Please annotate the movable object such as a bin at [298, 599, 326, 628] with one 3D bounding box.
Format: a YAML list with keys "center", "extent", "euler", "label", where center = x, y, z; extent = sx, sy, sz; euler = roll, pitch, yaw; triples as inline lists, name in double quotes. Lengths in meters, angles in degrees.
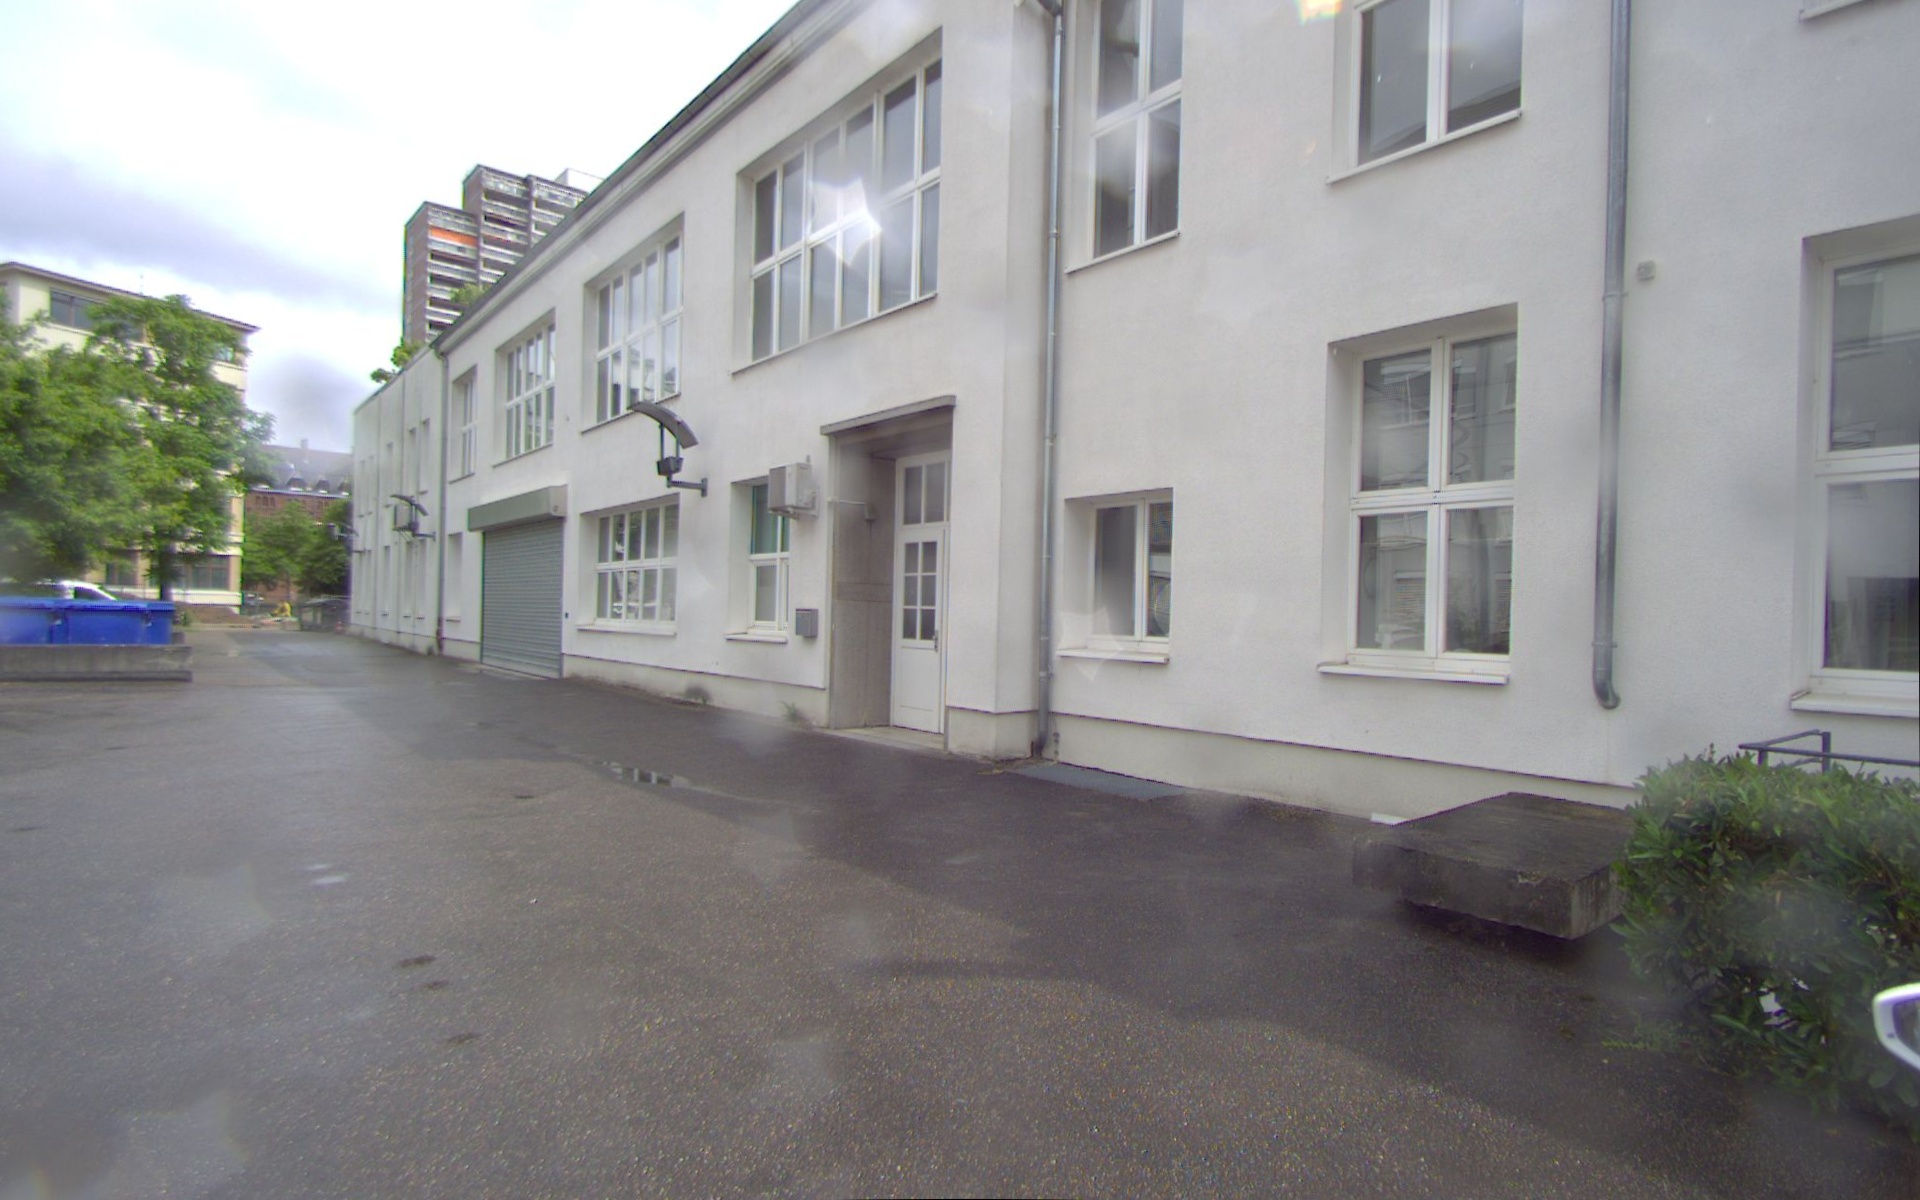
- center: [-30.927, 0.646, 47.912]
  extent: [1.056, 1.374, 1.252]
  euler: [1, 0, -36]
  label: "movable object such as a bin"

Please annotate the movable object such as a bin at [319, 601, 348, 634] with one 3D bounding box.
- center: [-27.027, 0.748, 43.349]
  extent: [0.969, 1.374, 0.910]
  euler: [1, 0, -36]
  label: "movable object such as a bin"

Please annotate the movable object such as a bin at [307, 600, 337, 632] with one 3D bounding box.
- center: [-28.287, 0.715, 44.503]
  extent: [1.036, 1.374, 1.195]
  euler: [1, 0, -36]
  label: "movable object such as a bin"

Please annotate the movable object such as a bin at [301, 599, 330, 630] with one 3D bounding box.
- center: [-30.080, 0.668, 46.850]
  extent: [1.056, 1.374, 1.252]
  euler: [1, 0, -36]
  label: "movable object such as a bin"

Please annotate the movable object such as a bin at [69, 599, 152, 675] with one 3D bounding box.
- center: [-15.925, 0.679, 18.863]
  extent: [1.085, 1.343, 1.196]
  euler: [1, 0, -36]
  label: "movable object such as a bin"

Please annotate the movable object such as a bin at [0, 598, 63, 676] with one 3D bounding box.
- center: [-16.934, 0.646, 18.014]
  extent: [1.121, 1.346, 1.196]
  euler: [1, 0, -36]
  label: "movable object such as a bin"

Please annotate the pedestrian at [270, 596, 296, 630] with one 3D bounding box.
- center: [-38.254, 0.732, 56.774]
  extent: [0.847, 1.838, 0.860]
  euler: [2, 0, 21]
  label: "pedestrian"

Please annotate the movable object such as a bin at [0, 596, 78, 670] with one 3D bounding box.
- center: [-17.869, 0.621, 19.413]
  extent: [1.121, 1.346, 1.196]
  euler: [1, 0, -36]
  label: "movable object such as a bin"

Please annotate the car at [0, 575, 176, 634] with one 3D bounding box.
- center: [-27.293, 0.159, 31.375]
  extent: [4.291, 1.750, 1.706]
  euler: [1, 0, -35]
  label: "car"

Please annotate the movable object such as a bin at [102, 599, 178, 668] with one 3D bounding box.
- center: [-16.702, 0.669, 20.500]
  extent: [1.121, 1.346, 1.196]
  euler: [1, 0, -36]
  label: "movable object such as a bin"
